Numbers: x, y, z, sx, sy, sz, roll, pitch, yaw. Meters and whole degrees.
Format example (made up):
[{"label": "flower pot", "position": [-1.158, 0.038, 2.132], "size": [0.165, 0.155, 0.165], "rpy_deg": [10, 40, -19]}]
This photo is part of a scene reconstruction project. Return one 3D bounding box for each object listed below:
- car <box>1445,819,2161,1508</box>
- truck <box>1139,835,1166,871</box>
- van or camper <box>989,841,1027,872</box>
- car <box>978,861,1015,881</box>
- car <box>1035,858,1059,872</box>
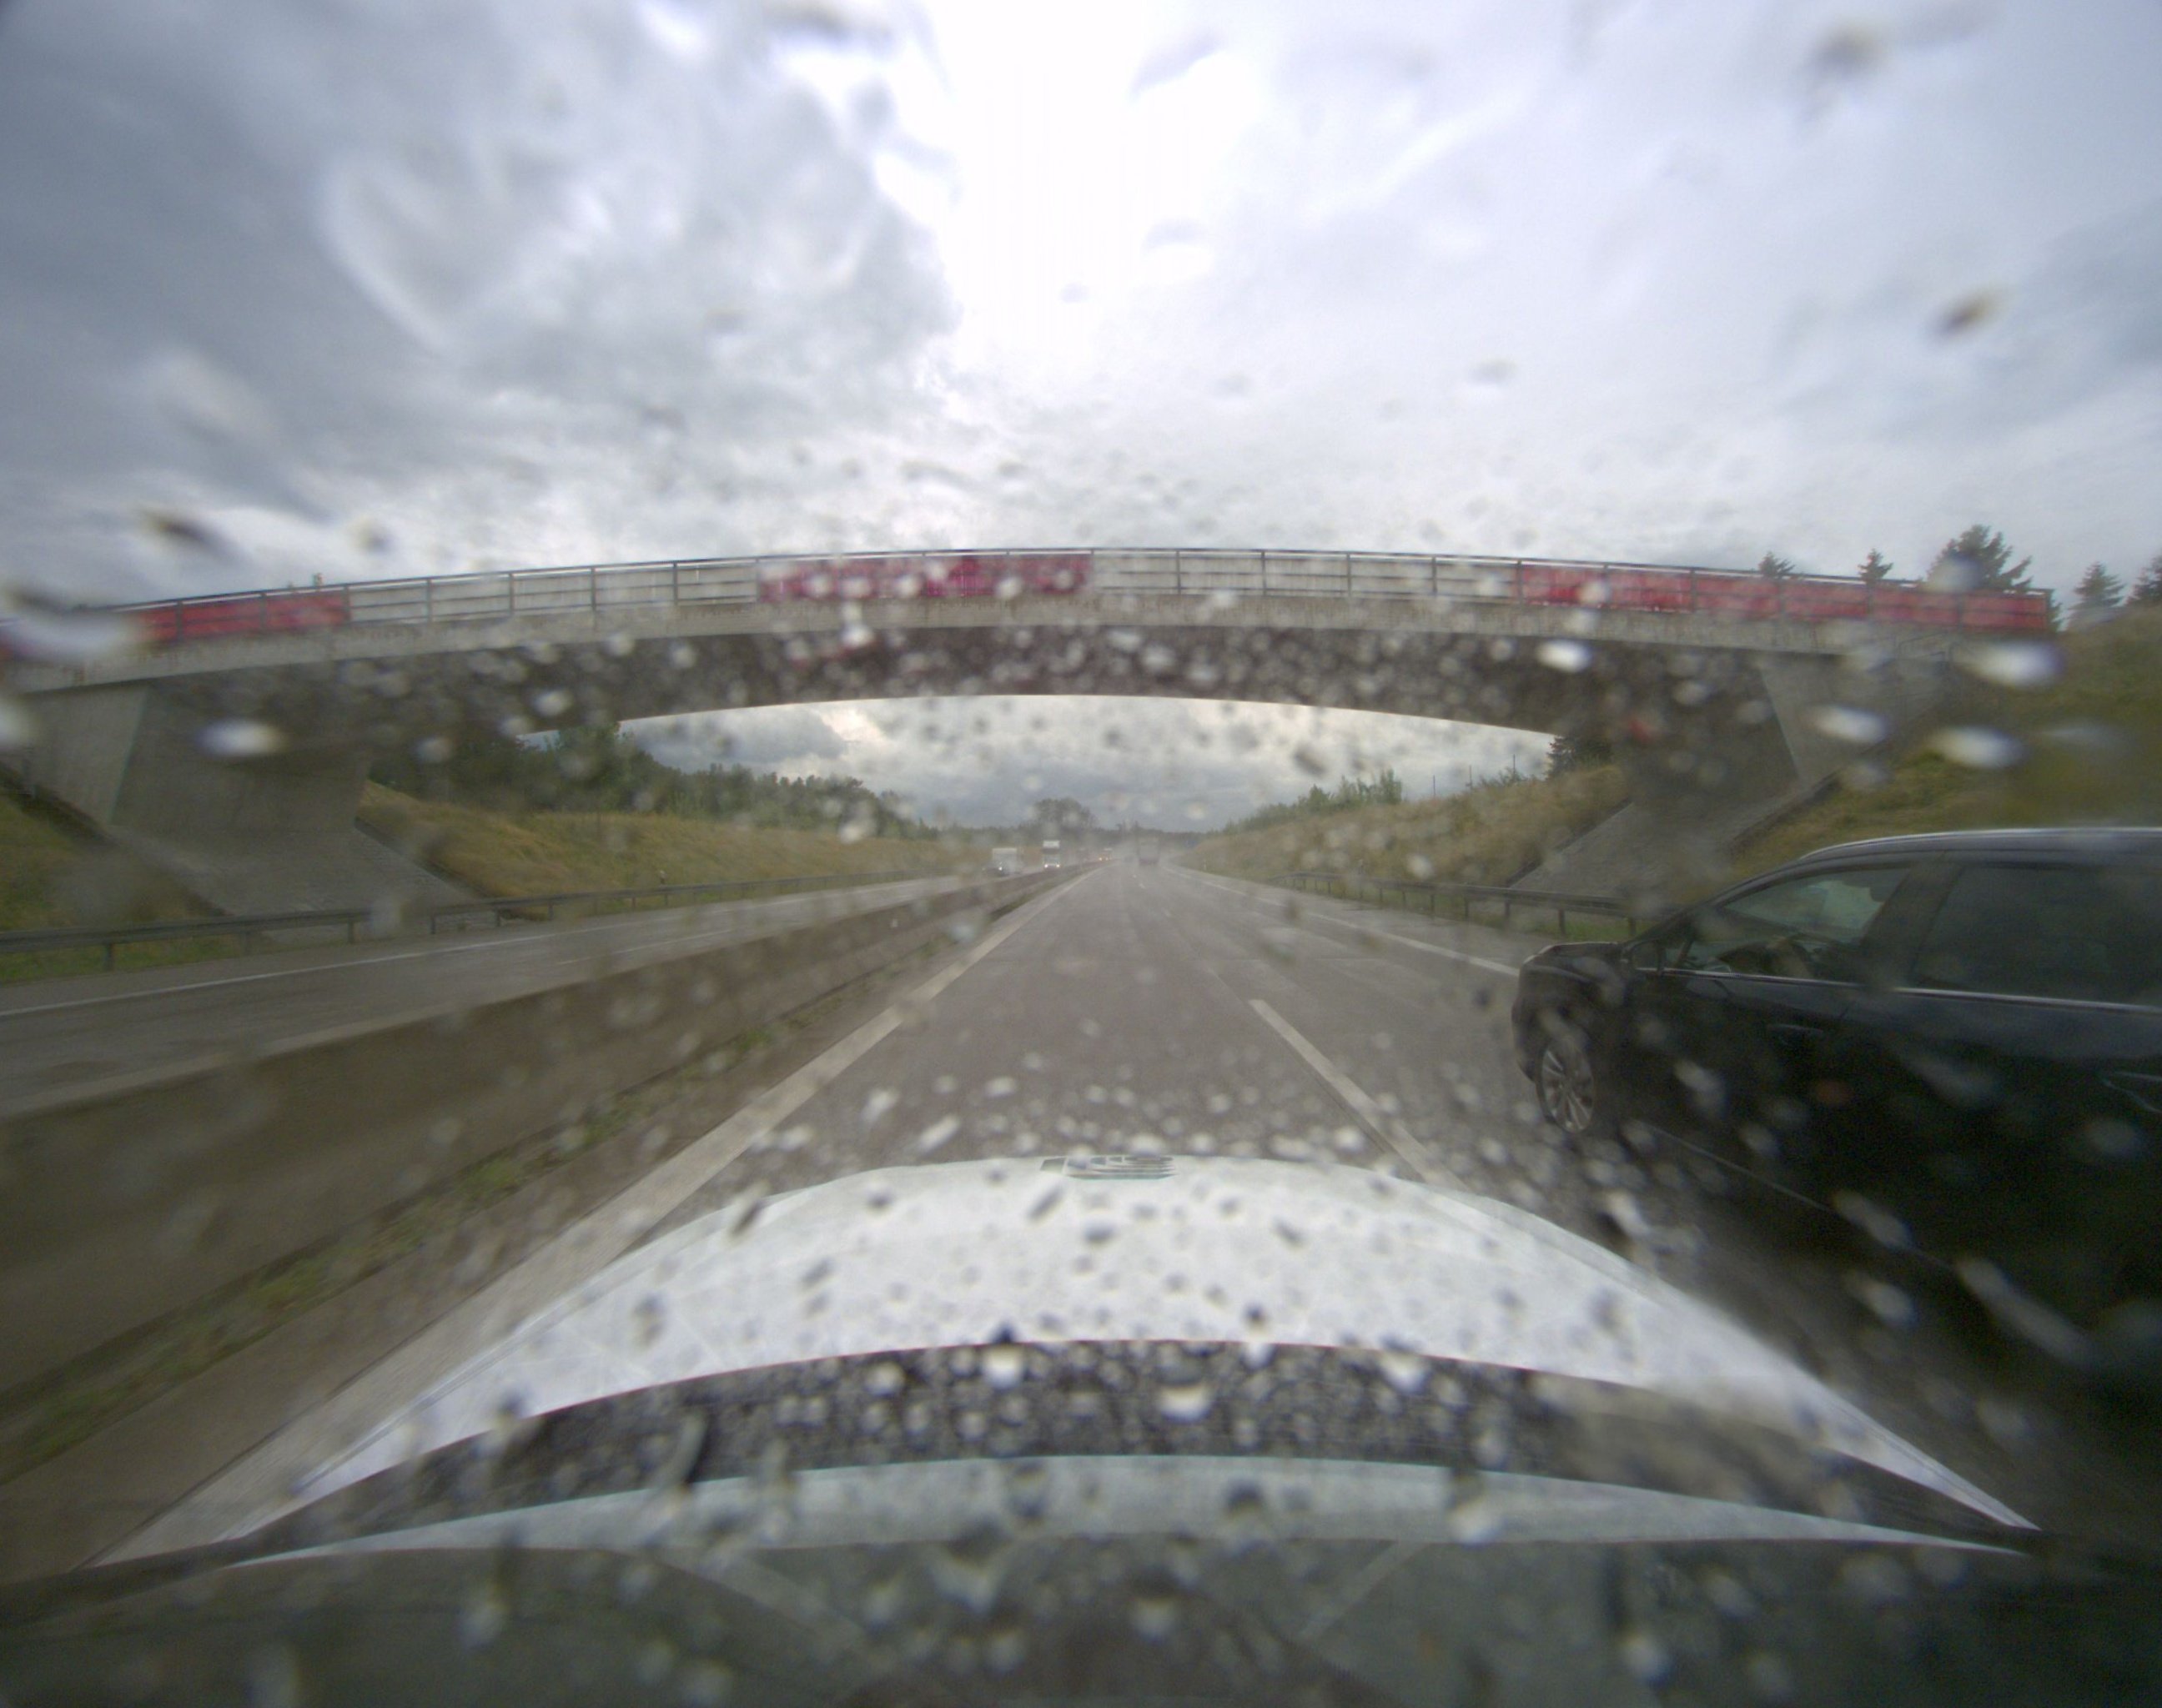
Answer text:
[{"label": "car", "position": [3.366, 0.694, 3.679], "size": [1.887, 1.576, 3.632], "rpy_deg": [0, 0, 1]}, {"label": "truck", "position": [9.463, -0.217, 106.826], "size": [3.227, 4.436, 8.260], "rpy_deg": [-1, 1, 6]}, {"label": "van or camper", "position": [-6.660, 0.162, 75.751], "size": [2.434, 2.595, 7.934], "rpy_deg": [1, 2, 3]}, {"label": "car", "position": [-7.118, 1.388, 69.124], "size": [2.277, 1.557, 5.185], "rpy_deg": [1, 0, 3]}, {"label": "car", "position": [-3.482, 1.121, 83.461], "size": [1.985, 1.311, 4.514], "rpy_deg": [-1, 0, 3]}]
